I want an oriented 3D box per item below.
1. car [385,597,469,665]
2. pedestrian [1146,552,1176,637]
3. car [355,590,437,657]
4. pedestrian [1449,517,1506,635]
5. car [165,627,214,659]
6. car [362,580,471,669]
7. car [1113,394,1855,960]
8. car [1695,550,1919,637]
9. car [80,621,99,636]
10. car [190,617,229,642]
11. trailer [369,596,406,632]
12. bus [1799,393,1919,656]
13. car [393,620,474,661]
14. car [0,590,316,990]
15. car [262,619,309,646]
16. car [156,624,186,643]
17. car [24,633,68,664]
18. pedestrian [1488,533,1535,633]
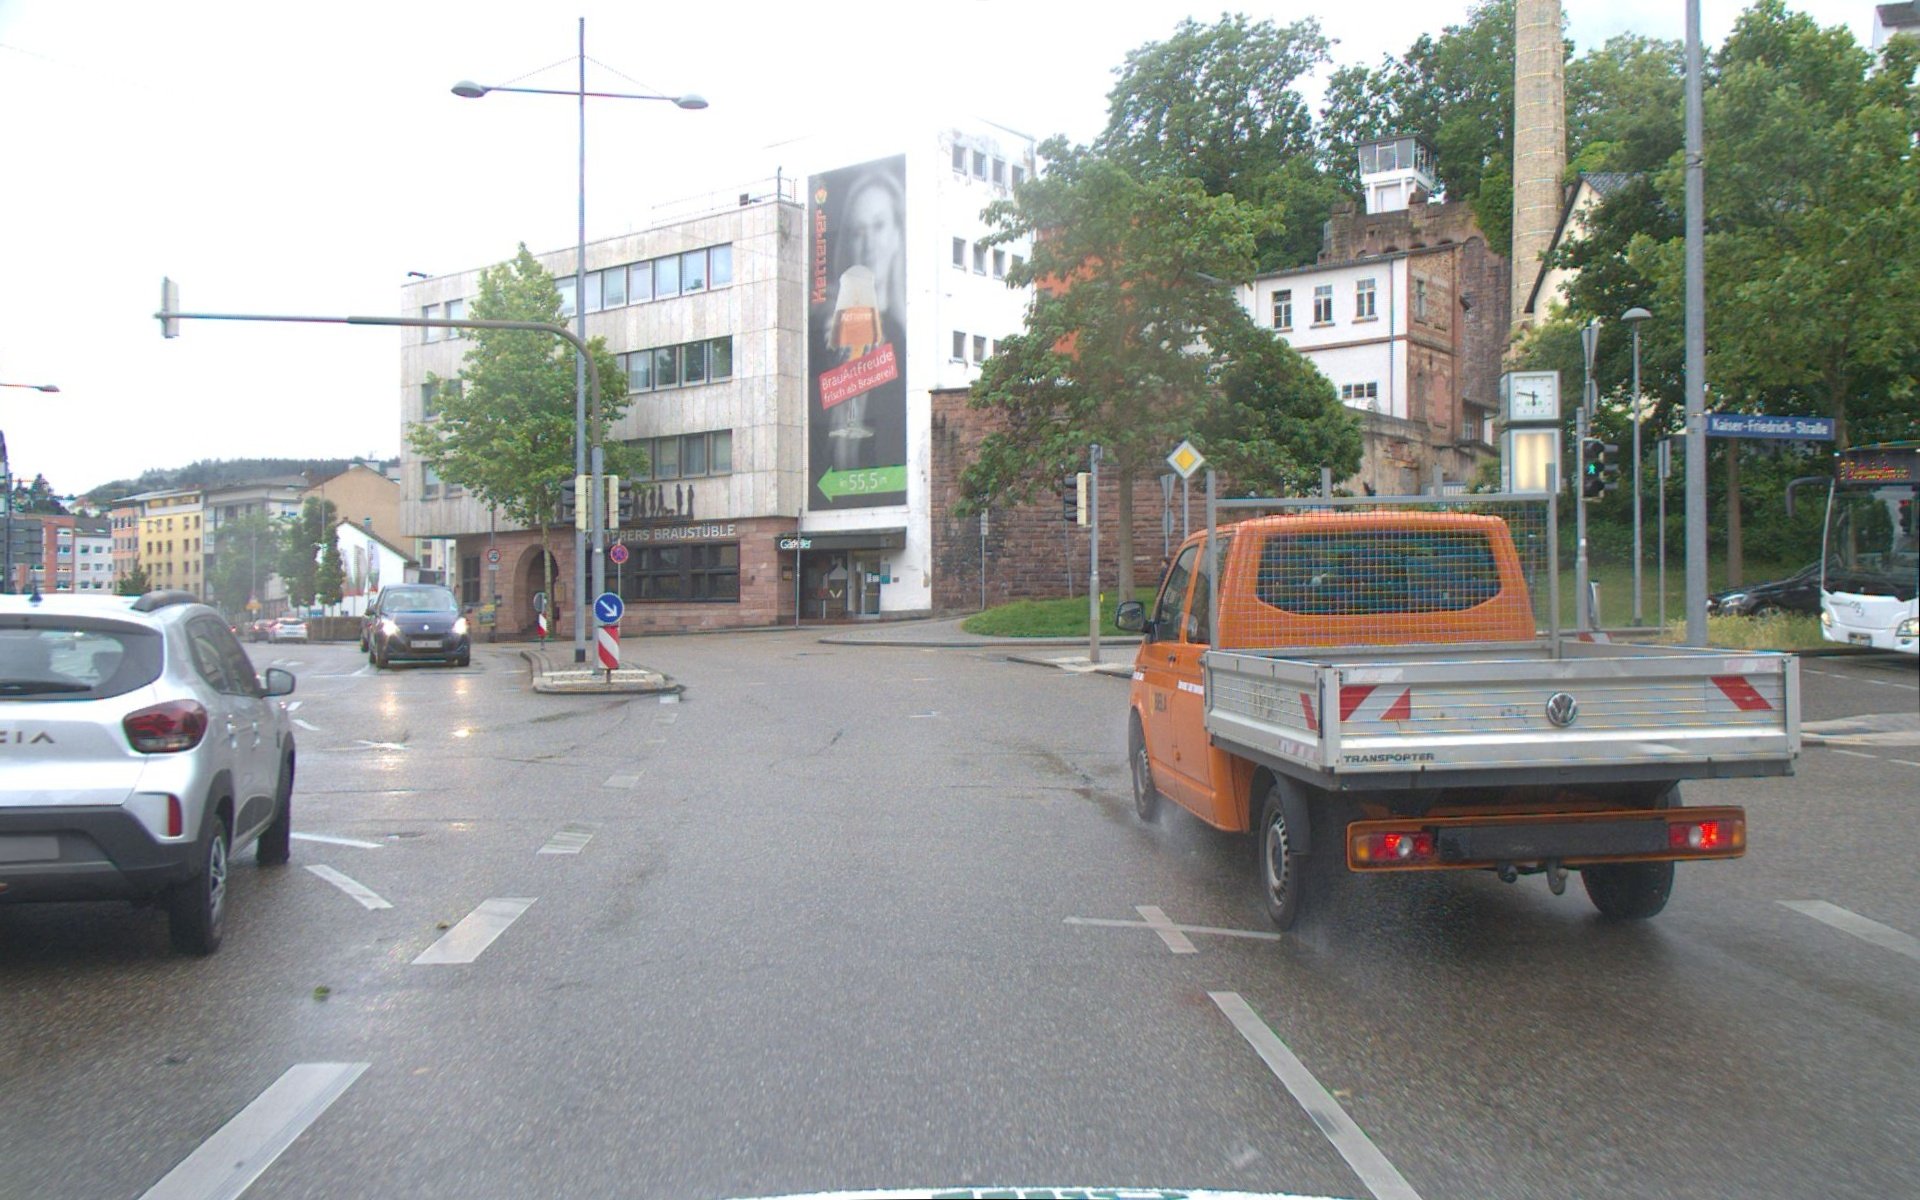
[{"bbox_3d":[-12.463,0.681,38.554,1.534,1.422,3.702,-3,1,-22],"label":"car"},{"bbox_3d":[4.404,-0.113,36.277,0.584,1.812,0.657,1,-2,9],"label":"pedestrian"},{"bbox_3d":[-14.944,0.581,43.704,1.732,1.642,4.181,-1,0,-23],"label":"car"},{"bbox_3d":[9.124,-0.423,29.136,0.771,2.048,0.587,-1,1,35],"label":"pedestrian"},{"bbox_3d":[-37.131,2.053,79.676,1.715,1.465,4.366,-1,-1,-31],"label":"car"},{"bbox_3d":[-11.023,0.454,33.388,1.732,1.642,4.181,-1,0,-23],"label":"car"},{"bbox_3d":[2.275,0.347,9.075,2.060,2.126,5.537,1,-1,-3],"label":"car"},{"bbox_3d":[15.283,-0.107,29.165,3.997,1.398,1.797,-2,0,17],"label":"car"},{"bbox_3d":[-93.857,3.084,178.368,1.702,1.448,4.124,-2,0,-29],"label":"car"},{"bbox_3d":[-46.873,1.820,103.227,1.650,1.420,3.821,0,1,-34],"label":"car"},{"bbox_3d":[-46.610,1.131,134.543,2.102,2.763,5.343,-2,0,-27],"label":"trailer"},{"bbox_3d":[16.593,-0.990,22.145,9.433,3.272,2.704,0,1,-2],"label":"bus"},{"bbox_3d":[-19.854,1.495,62.264,1.773,1.427,4.580,-1,0,-33],"label":"car"},{"bbox_3d":[-4.082,0.707,7.885,1.512,1.487,3.614,0,0,-15],"label":"car"},{"bbox_3d":[-37.474,1.805,91.893,1.651,1.420,3.819,0,0,-35],"label":"car"},{"bbox_3d":[-64.773,2.733,135.747,1.931,1.420,3.829,0,1,-29],"label":"car"},{"bbox_3d":[-42.666,2.273,77.252,1.709,1.390,4.072,0,-2,-28],"label":"car"},{"bbox_3d":[9.768,-0.302,29.294,0.547,1.735,0.526,-2,1,-16],"label":"pedestrian"}]
